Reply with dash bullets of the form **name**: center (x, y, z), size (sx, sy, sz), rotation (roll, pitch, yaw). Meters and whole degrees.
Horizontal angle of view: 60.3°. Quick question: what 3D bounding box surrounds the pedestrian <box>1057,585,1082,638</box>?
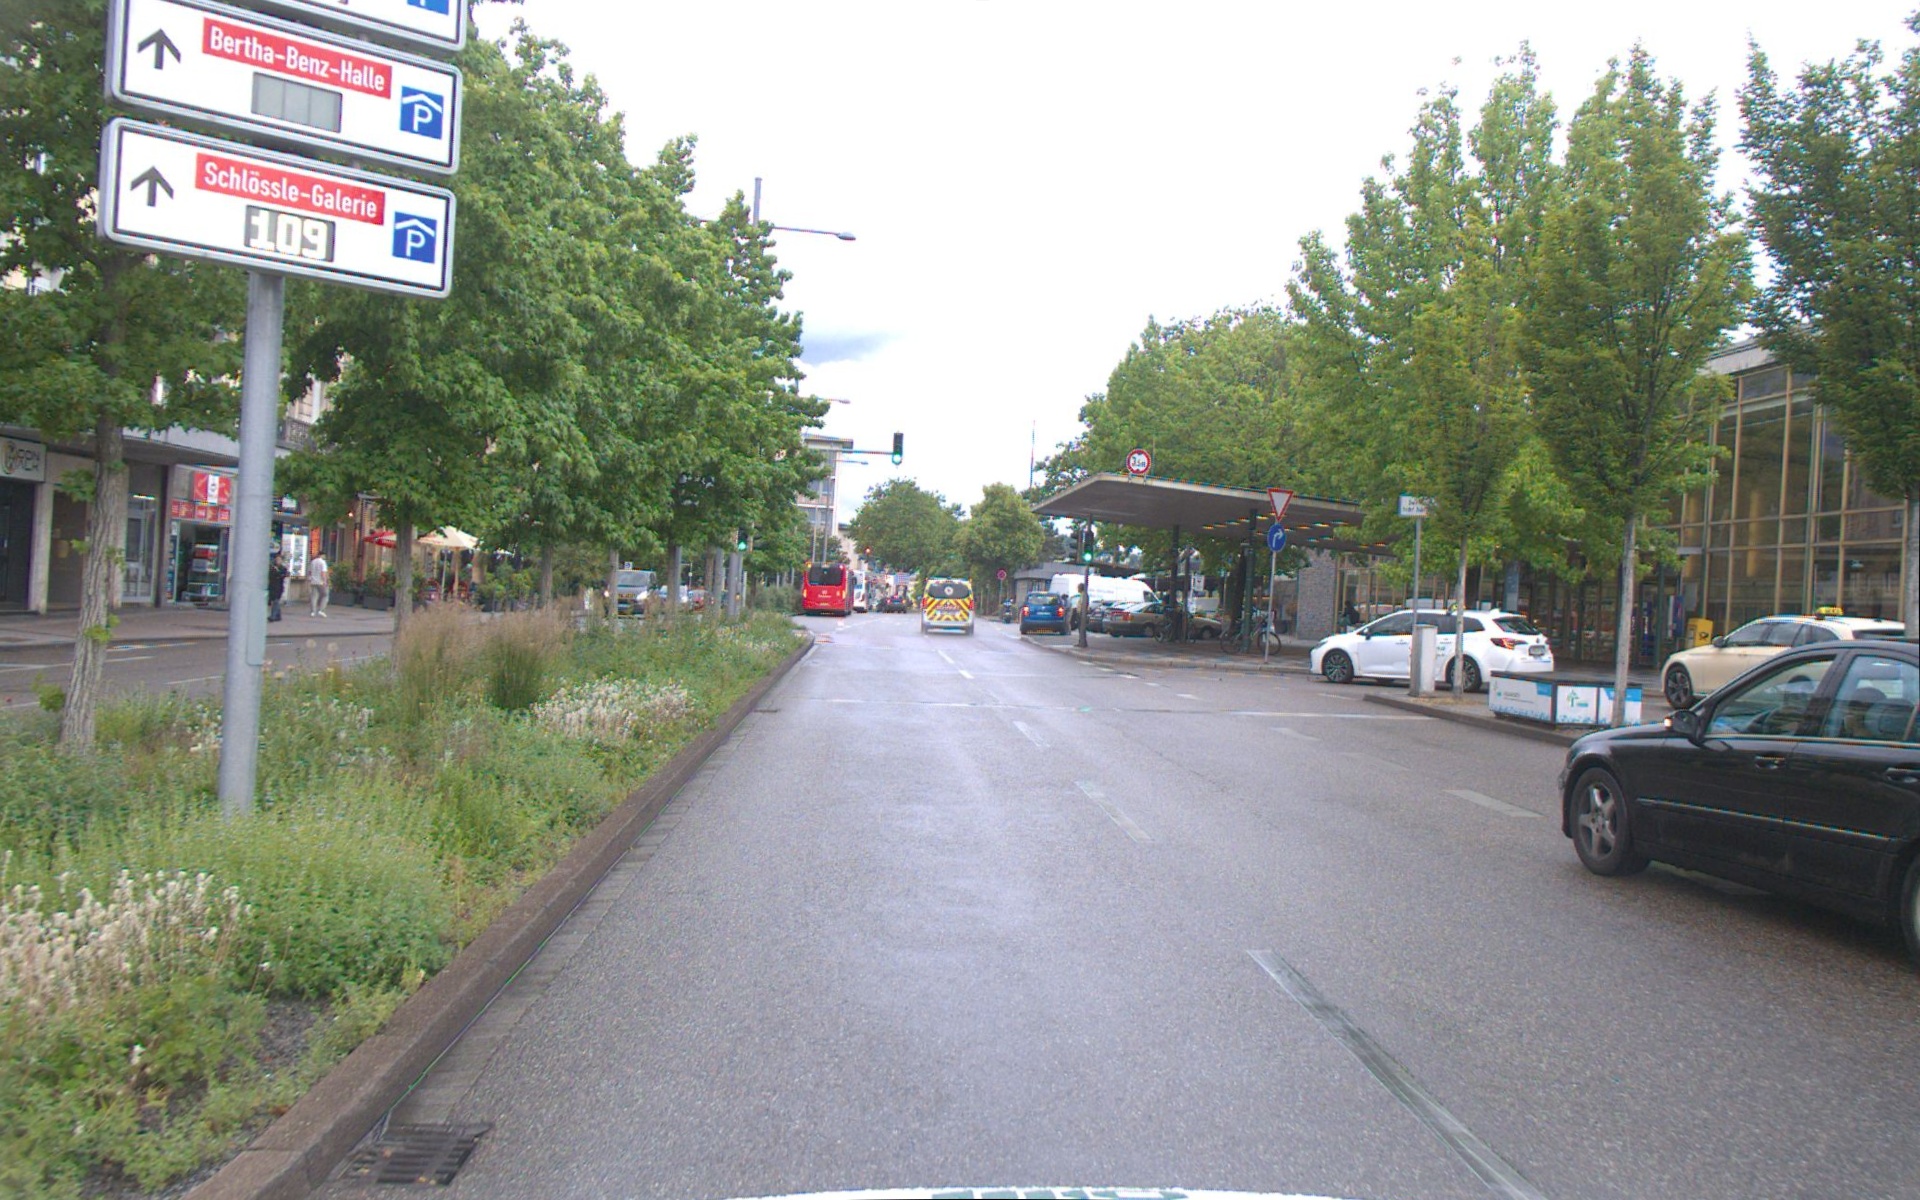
- **pedestrian**: center (4.272, 0.442, 64.694), size (0.815, 2.049, 0.888), rotation (0, 0, -7)

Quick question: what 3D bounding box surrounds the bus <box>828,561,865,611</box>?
- **bus**: center (-9.117, -1.072, 132.235), size (2.750, 3.812, 10.436), rotation (1, 0, -4)

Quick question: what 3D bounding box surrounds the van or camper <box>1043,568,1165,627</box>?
- **van or camper**: center (7.152, -0.100, 81.999), size (5.884, 2.811, 2.177), rotation (0, 0, -30)

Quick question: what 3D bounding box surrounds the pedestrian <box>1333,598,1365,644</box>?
- **pedestrian**: center (13.602, 0.728, 57.818), size (0.849, 1.586, 0.812), rotation (0, 0, -10)

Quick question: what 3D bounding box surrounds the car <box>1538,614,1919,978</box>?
- **car**: center (4.680, 0.835, 7.996), size (1.663, 1.491, 4.442), rotation (0, 0, -9)

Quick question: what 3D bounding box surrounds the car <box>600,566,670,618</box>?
- **car**: center (-13.371, -0.331, 68.341), size (1.953, 2.049, 5.000), rotation (0, 0, -1)

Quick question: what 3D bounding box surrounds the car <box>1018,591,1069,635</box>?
- **car**: center (3.210, 0.510, 64.428), size (1.820, 1.596, 4.000), rotation (2, -1, 1)

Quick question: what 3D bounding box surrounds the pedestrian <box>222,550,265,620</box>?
- **pedestrian**: center (-17.671, -0.365, 40.803), size (0.667, 1.693, 0.807), rotation (0, 0, 0)

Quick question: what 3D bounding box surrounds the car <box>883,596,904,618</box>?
- **car**: center (-6.121, 0.639, 151.867), size (1.953, 2.049, 3.998), rotation (0, 0, -3)

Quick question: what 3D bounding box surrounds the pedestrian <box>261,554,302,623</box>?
- **pedestrian**: center (-16.773, -0.289, 40.902), size (0.668, 1.693, 0.806), rotation (0, 0, -3)

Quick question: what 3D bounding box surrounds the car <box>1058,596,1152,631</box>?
- **car**: center (6.658, 0.632, 75.913), size (3.943, 1.468, 1.846), rotation (2, -1, -30)

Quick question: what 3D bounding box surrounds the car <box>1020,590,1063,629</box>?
- **car**: center (3.439, 0.420, 70.402), size (1.750, 1.549, 3.682), rotation (2, -1, 2)

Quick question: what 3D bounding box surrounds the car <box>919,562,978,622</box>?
- **car**: center (-0.457, -0.284, 59.474), size (1.953, 2.049, 5.059), rotation (0, 0, -2)

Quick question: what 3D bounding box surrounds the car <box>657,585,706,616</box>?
- **car**: center (-14.484, 0.044, 86.236), size (1.953, 1.570, 4.630), rotation (0, 0, -3)

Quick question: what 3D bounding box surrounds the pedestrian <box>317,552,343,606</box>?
- **pedestrian**: center (-20.092, -0.671, 52.745), size (0.655, 1.693, 0.535), rotation (0, 0, -11)

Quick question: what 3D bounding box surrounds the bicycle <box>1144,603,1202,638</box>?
- **bicycle**: center (6.586, 0.625, 51.137), size (1.801, 1.074, 0.418), rotation (0, 0, -21)

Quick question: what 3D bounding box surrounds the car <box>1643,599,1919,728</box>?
- **car**: center (12.294, 0.830, 24.123), size (1.957, 1.627, 4.946), rotation (0, 0, -10)

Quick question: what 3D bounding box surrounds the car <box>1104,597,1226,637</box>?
- **car**: center (7.628, 0.641, 61.540), size (4.128, 1.348, 1.827), rotation (2, -1, -23)

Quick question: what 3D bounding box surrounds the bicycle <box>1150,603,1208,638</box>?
- **bicycle**: center (6.716, 0.633, 50.696), size (1.801, 1.074, 0.418), rotation (0, 0, -21)

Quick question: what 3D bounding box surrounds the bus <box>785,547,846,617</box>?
- **bus**: center (-8.832, -1.048, 102.245), size (3.475, 4.049, 11.162), rotation (0, 0, -4)

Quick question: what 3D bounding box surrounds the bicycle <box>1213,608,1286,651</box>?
- **bicycle**: center (7.404, 0.745, 42.260), size (1.791, 1.074, 0.420), rotation (0, 0, -3)

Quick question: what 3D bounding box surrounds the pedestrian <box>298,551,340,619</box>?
- **pedestrian**: center (-17.914, -0.416, 46.205), size (0.862, 1.844, 0.750), rotation (-1, 0, -3)

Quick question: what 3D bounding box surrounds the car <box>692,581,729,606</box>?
- **car**: center (-14.786, -0.365, 98.109), size (1.712, 1.455, 3.951), rotation (0, 0, -3)

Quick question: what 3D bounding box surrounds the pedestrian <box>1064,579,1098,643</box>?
- **pedestrian**: center (3.380, 0.306, 46.171), size (0.733, 1.777, 0.834), rotation (1, -1, -11)

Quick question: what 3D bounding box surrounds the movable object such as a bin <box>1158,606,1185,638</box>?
- **movable object such as a bin**: center (7.249, 0.738, 56.722), size (0.738, 1.086, 0.747), rotation (0, 0, -12)

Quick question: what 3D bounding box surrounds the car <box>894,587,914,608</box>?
- **car**: center (-5.678, -0.277, 167.189), size (1.953, 2.049, 3.998), rotation (0, 0, -3)

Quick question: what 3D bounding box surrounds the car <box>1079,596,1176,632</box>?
- **car**: center (7.481, 0.638, 73.756), size (3.943, 1.468, 1.846), rotation (2, -1, -30)

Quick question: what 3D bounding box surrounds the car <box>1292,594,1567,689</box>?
- **car**: center (8.573, 0.715, 30.536), size (1.749, 1.573, 4.704), rotation (2, -1, -42)

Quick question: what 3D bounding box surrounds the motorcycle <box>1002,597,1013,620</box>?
- **motorcycle**: center (2.833, 0.507, 98.669), size (0.583, 1.310, 1.954), rotation (1, 0, 3)

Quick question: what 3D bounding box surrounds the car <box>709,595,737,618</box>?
- **car**: center (-16.762, 0.456, 116.987), size (1.565, 1.557, 3.651), rotation (0, 0, -3)

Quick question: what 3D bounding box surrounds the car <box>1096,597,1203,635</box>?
- **car**: center (7.478, 0.637, 65.202), size (3.950, 1.383, 1.843), rotation (2, -1, -34)

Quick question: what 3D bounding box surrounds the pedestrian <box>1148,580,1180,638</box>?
- **pedestrian**: center (6.708, 0.298, 54.427), size (0.839, 1.867, 1.189), rotation (1, -1, -3)
